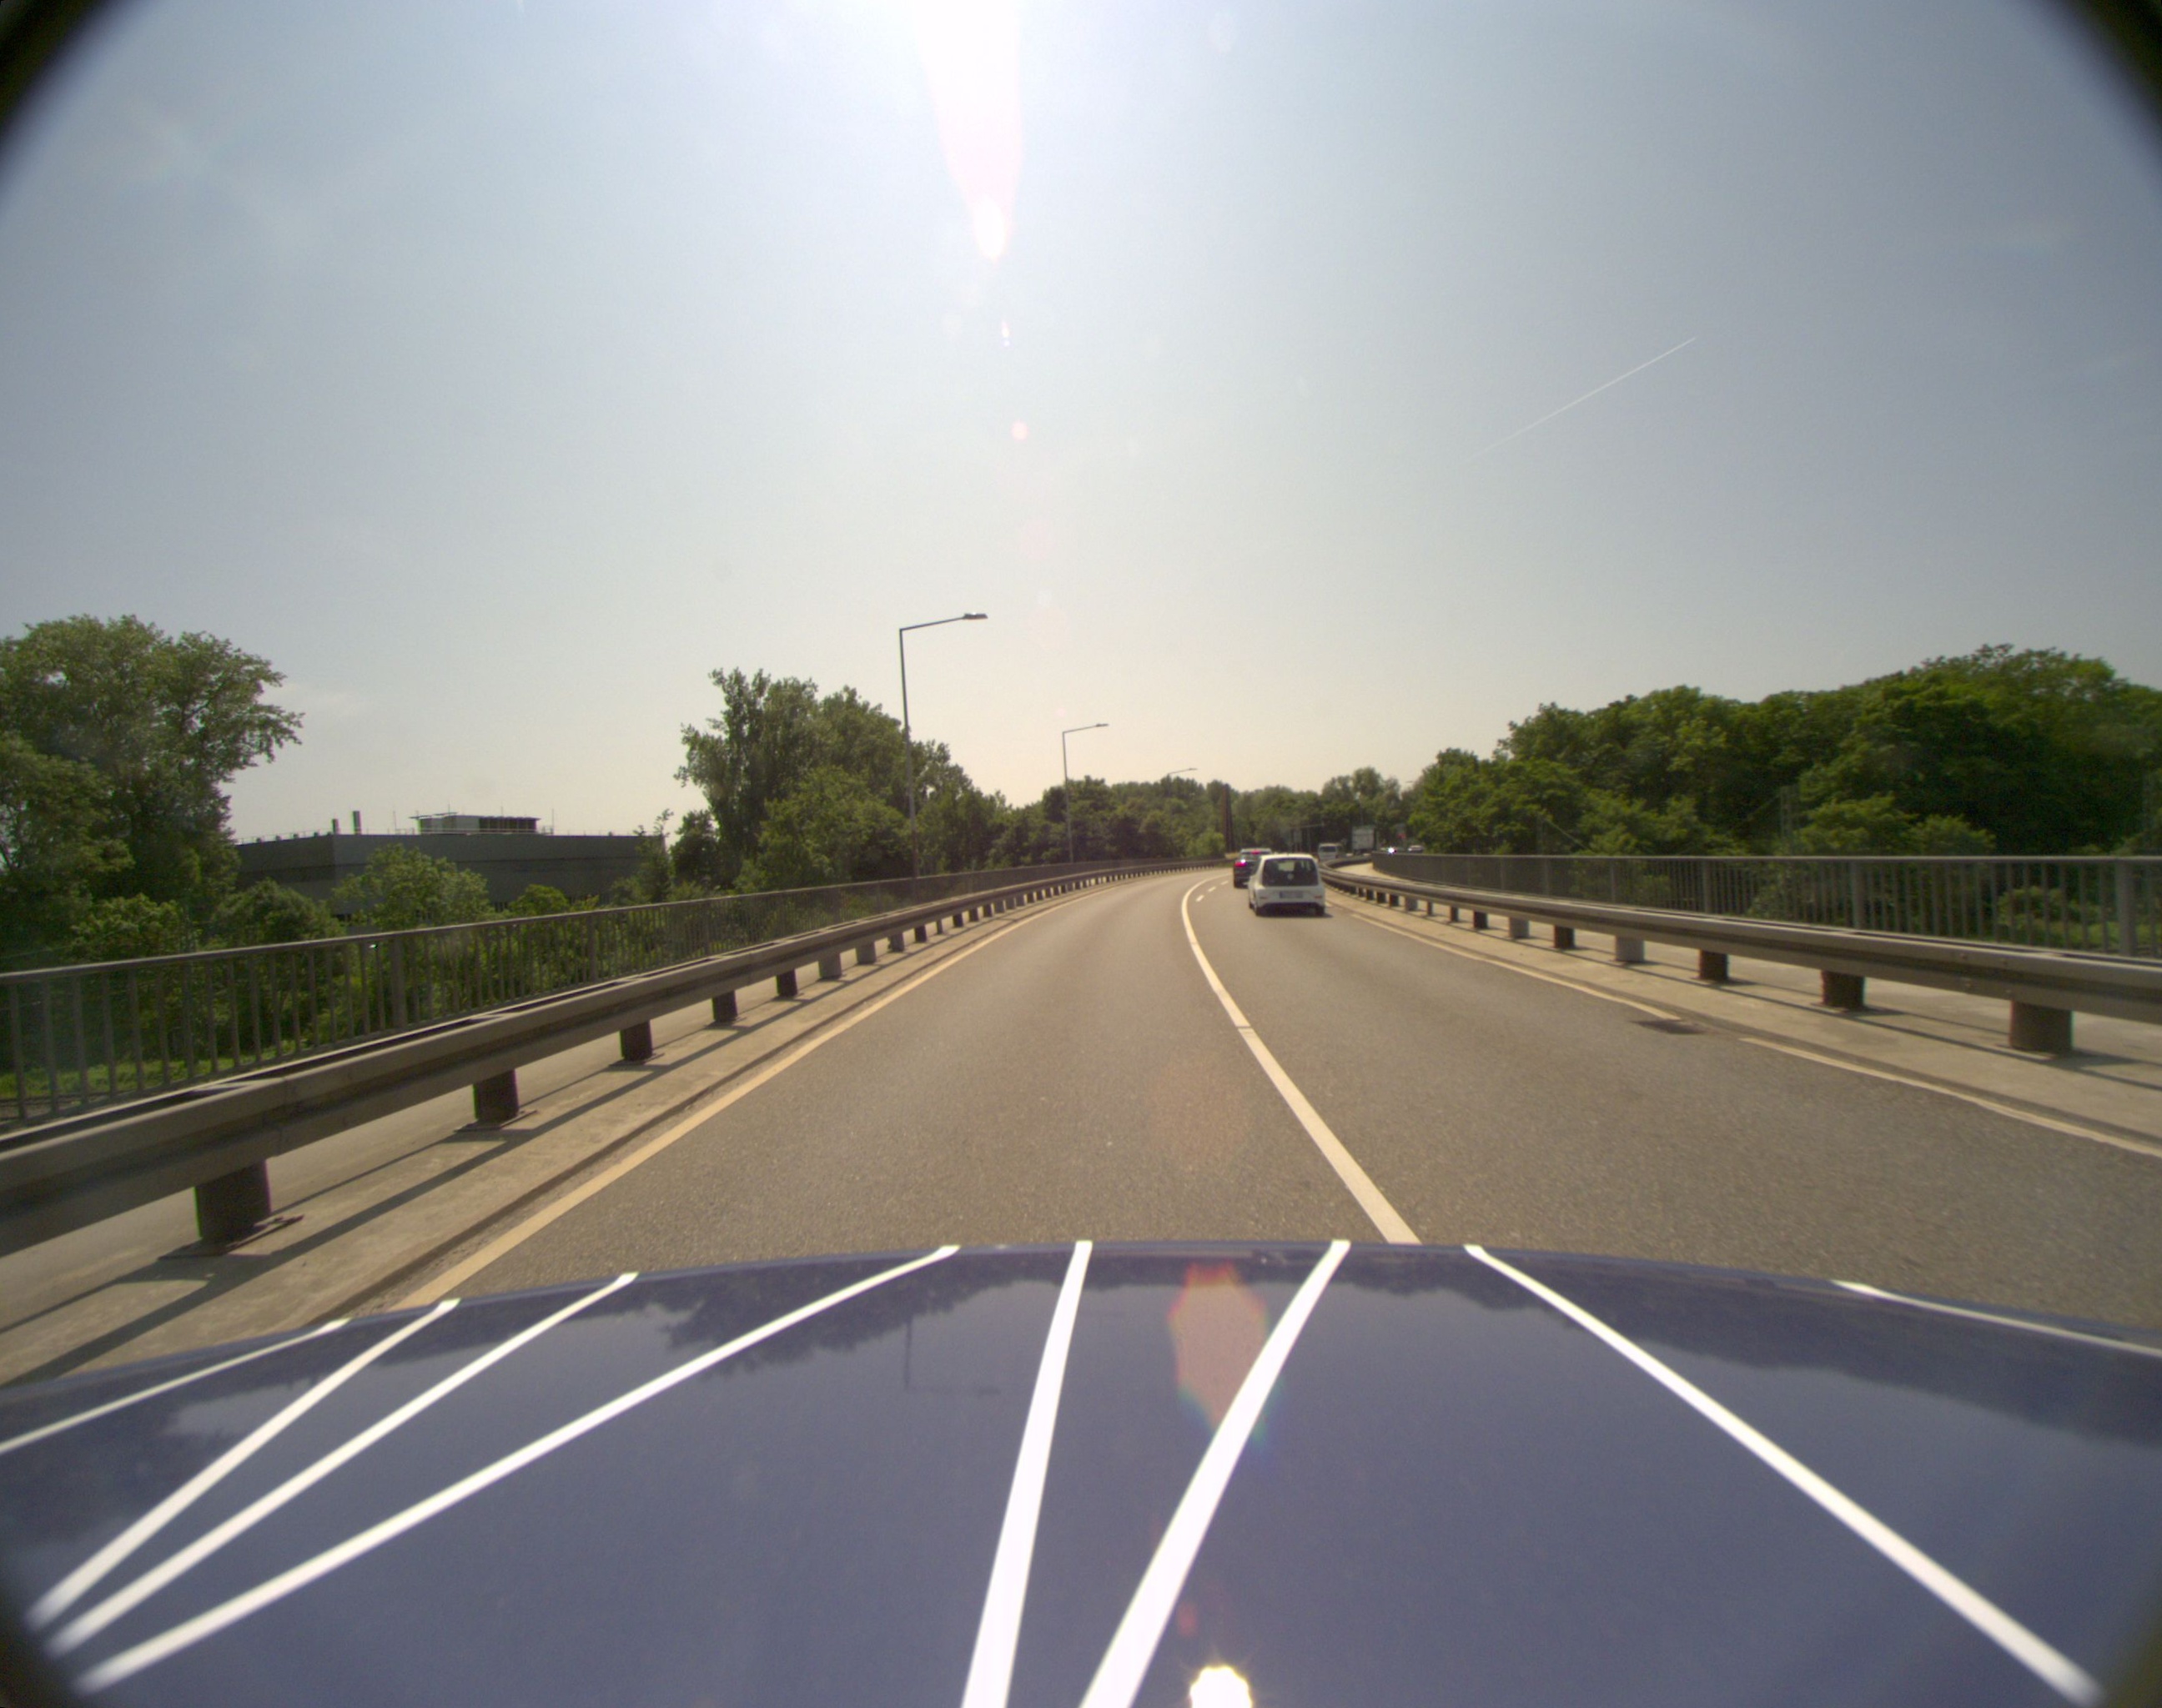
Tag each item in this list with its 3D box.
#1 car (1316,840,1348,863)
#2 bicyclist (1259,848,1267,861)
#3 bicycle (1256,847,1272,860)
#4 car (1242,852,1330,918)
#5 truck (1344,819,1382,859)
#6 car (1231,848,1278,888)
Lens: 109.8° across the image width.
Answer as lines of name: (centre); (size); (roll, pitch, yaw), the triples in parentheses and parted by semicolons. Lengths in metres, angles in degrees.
car: (22.991, -0.264, 69.431); (1.862, 1.988, 4.823); (-1, 0, 30)
bicyclist: (23.109, 0.046, 96.279); (0.671, 1.589, 0.690); (-2, 0, -24)
bicycle: (23.153, -0.015, 96.217); (0.657, 1.564, 2.370); (-2, 0, -25)
car: (5.092, 0.721, 19.273); (1.667, 1.455, 3.488); (-2, 0, 8)
truck: (29.870, -1.549, 80.363); (2.707, 3.968, 6.198); (0, 0, 31)
car: (7.608, 0.580, 33.095); (1.844, 1.626, 4.238); (-1, 0, 15)
